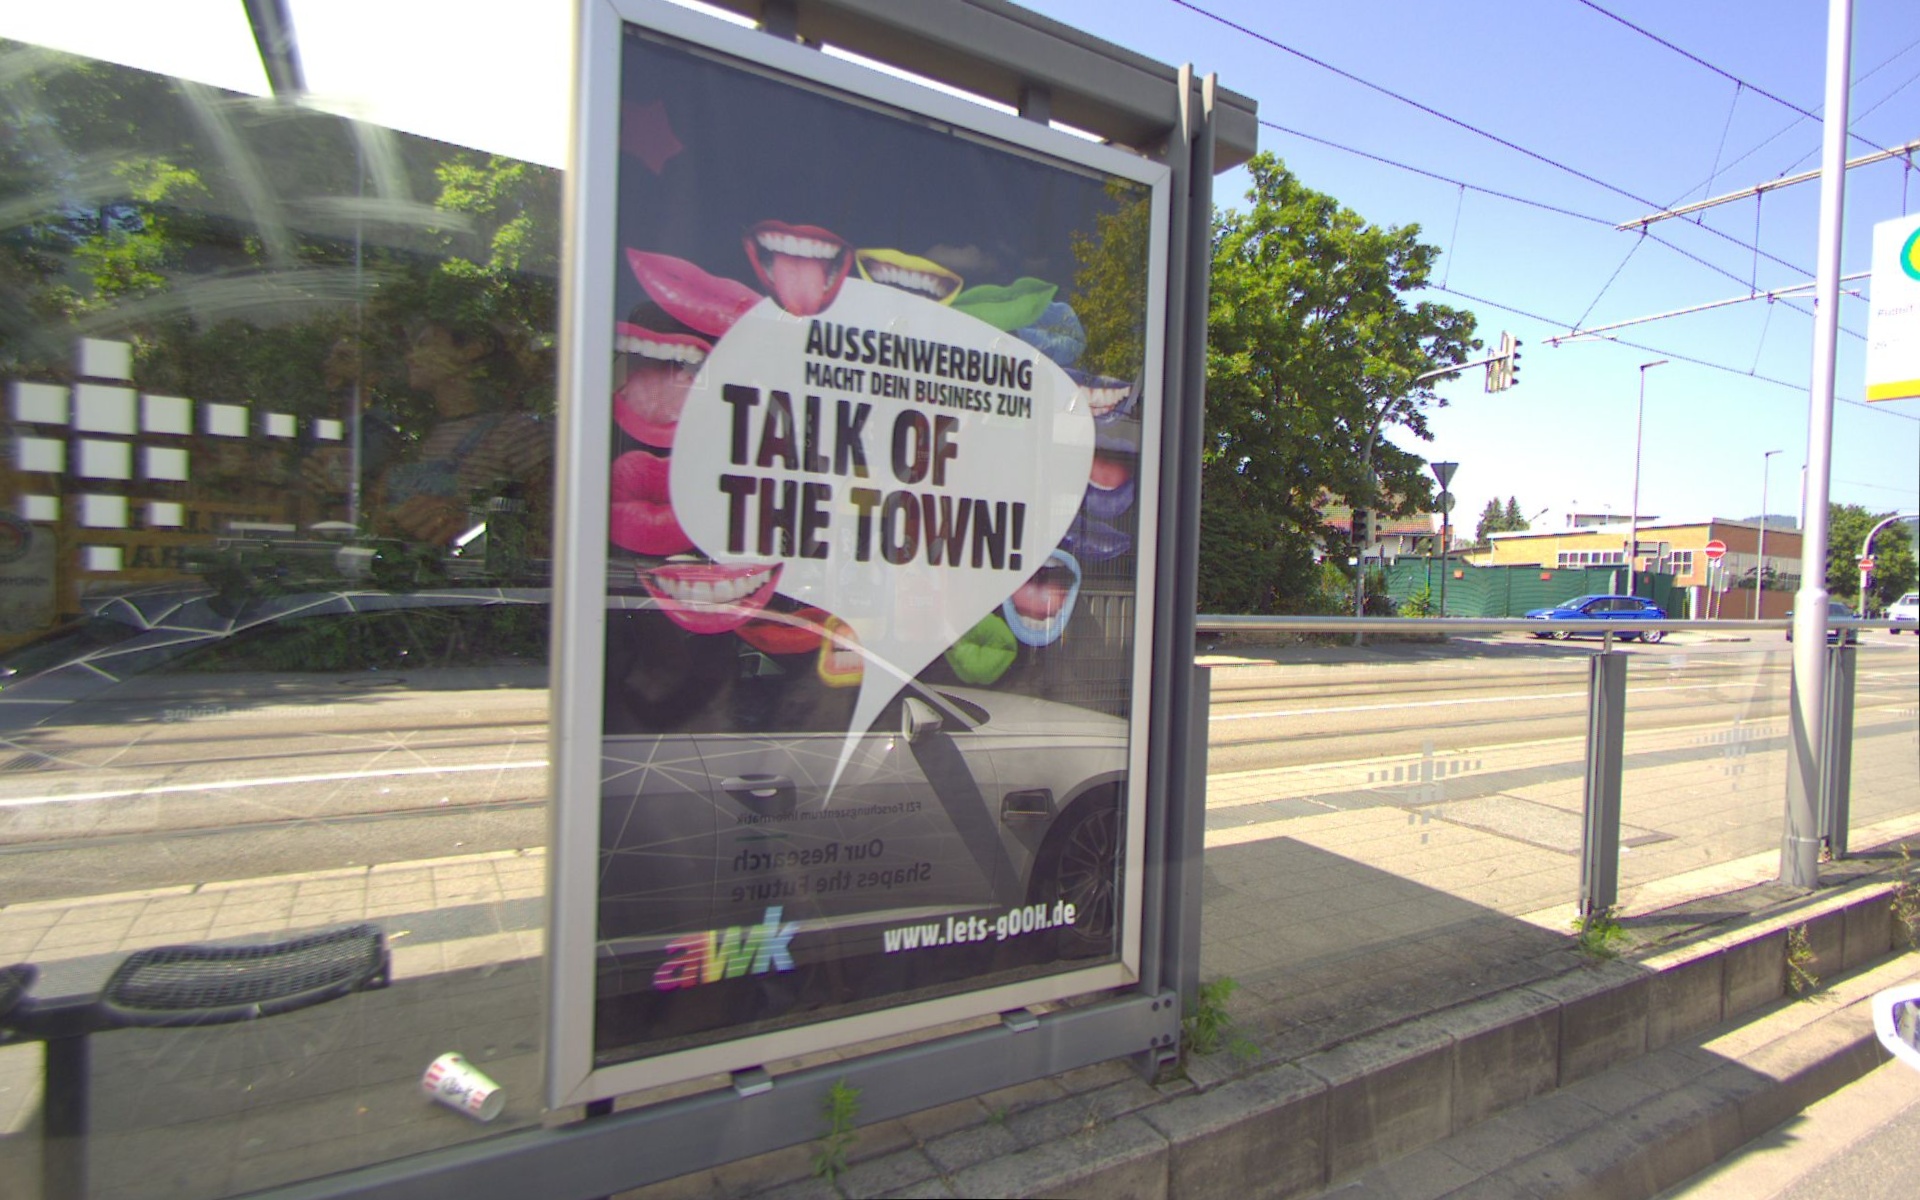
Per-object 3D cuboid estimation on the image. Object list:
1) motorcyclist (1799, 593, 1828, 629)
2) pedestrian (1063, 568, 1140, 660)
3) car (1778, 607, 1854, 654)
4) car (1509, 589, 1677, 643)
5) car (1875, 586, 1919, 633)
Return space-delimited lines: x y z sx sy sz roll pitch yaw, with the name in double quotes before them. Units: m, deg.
"motorcyclist" 37.222 0.487 43.800 0.824 1.495 0.960 2 0 35
"pedestrian" 2.715 0.253 19.236 1.147 1.693 0.881 0 1 -31
"car" 30.259 1.030 35.483 1.885 1.461 4.571 2 1 41
"car" 19.900 0.476 31.757 4.077 1.557 1.807 1 1 9
"car" 44.700 0.497 46.593 4.966 2.040 2.149 3 0 -34
